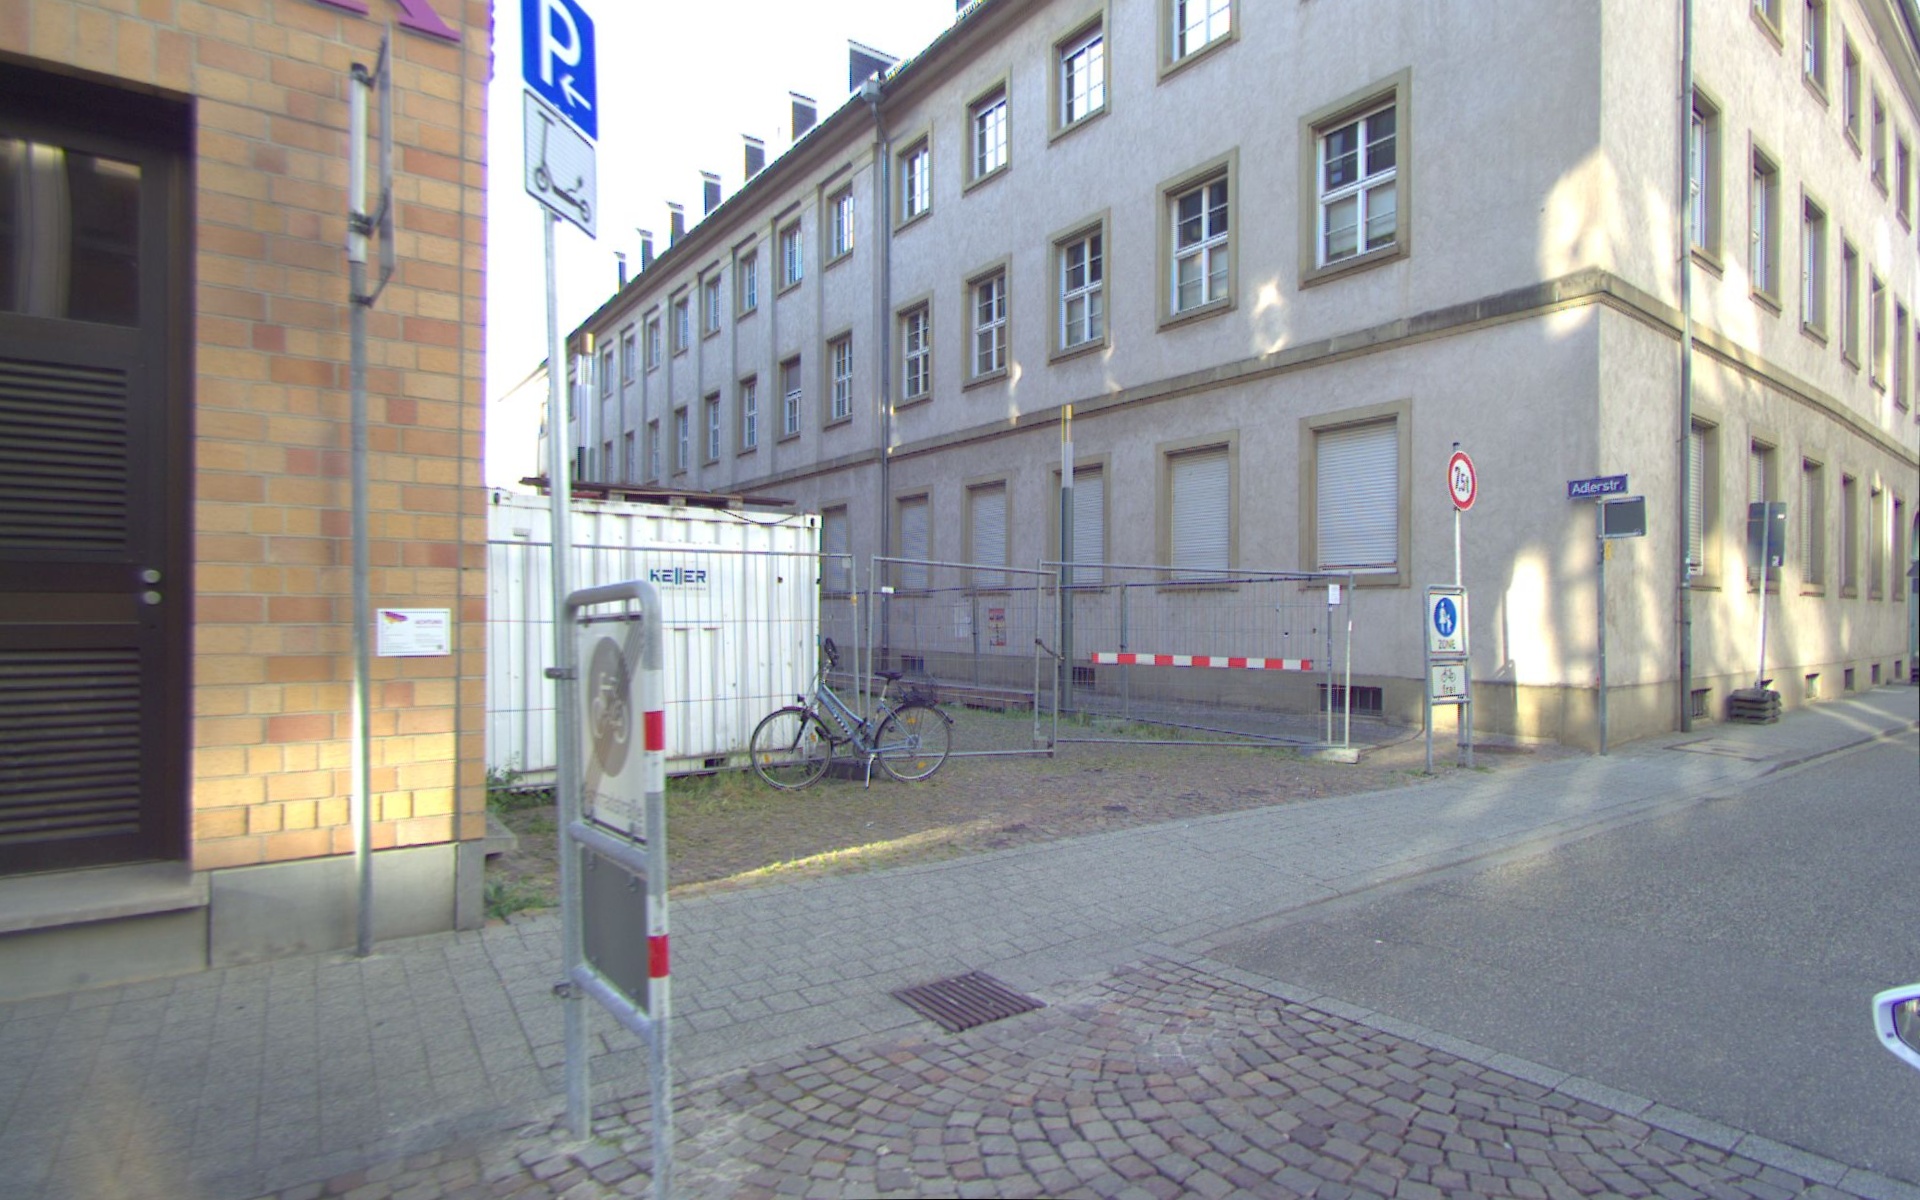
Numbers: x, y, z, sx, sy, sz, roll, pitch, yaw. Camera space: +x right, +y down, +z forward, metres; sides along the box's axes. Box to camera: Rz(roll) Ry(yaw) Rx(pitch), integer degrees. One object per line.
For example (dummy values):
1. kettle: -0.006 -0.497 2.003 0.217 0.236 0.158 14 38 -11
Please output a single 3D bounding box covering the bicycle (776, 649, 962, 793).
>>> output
1. bicycle: -0.793 1.020 8.738 1.564 1.159 0.430 0 0 -16
